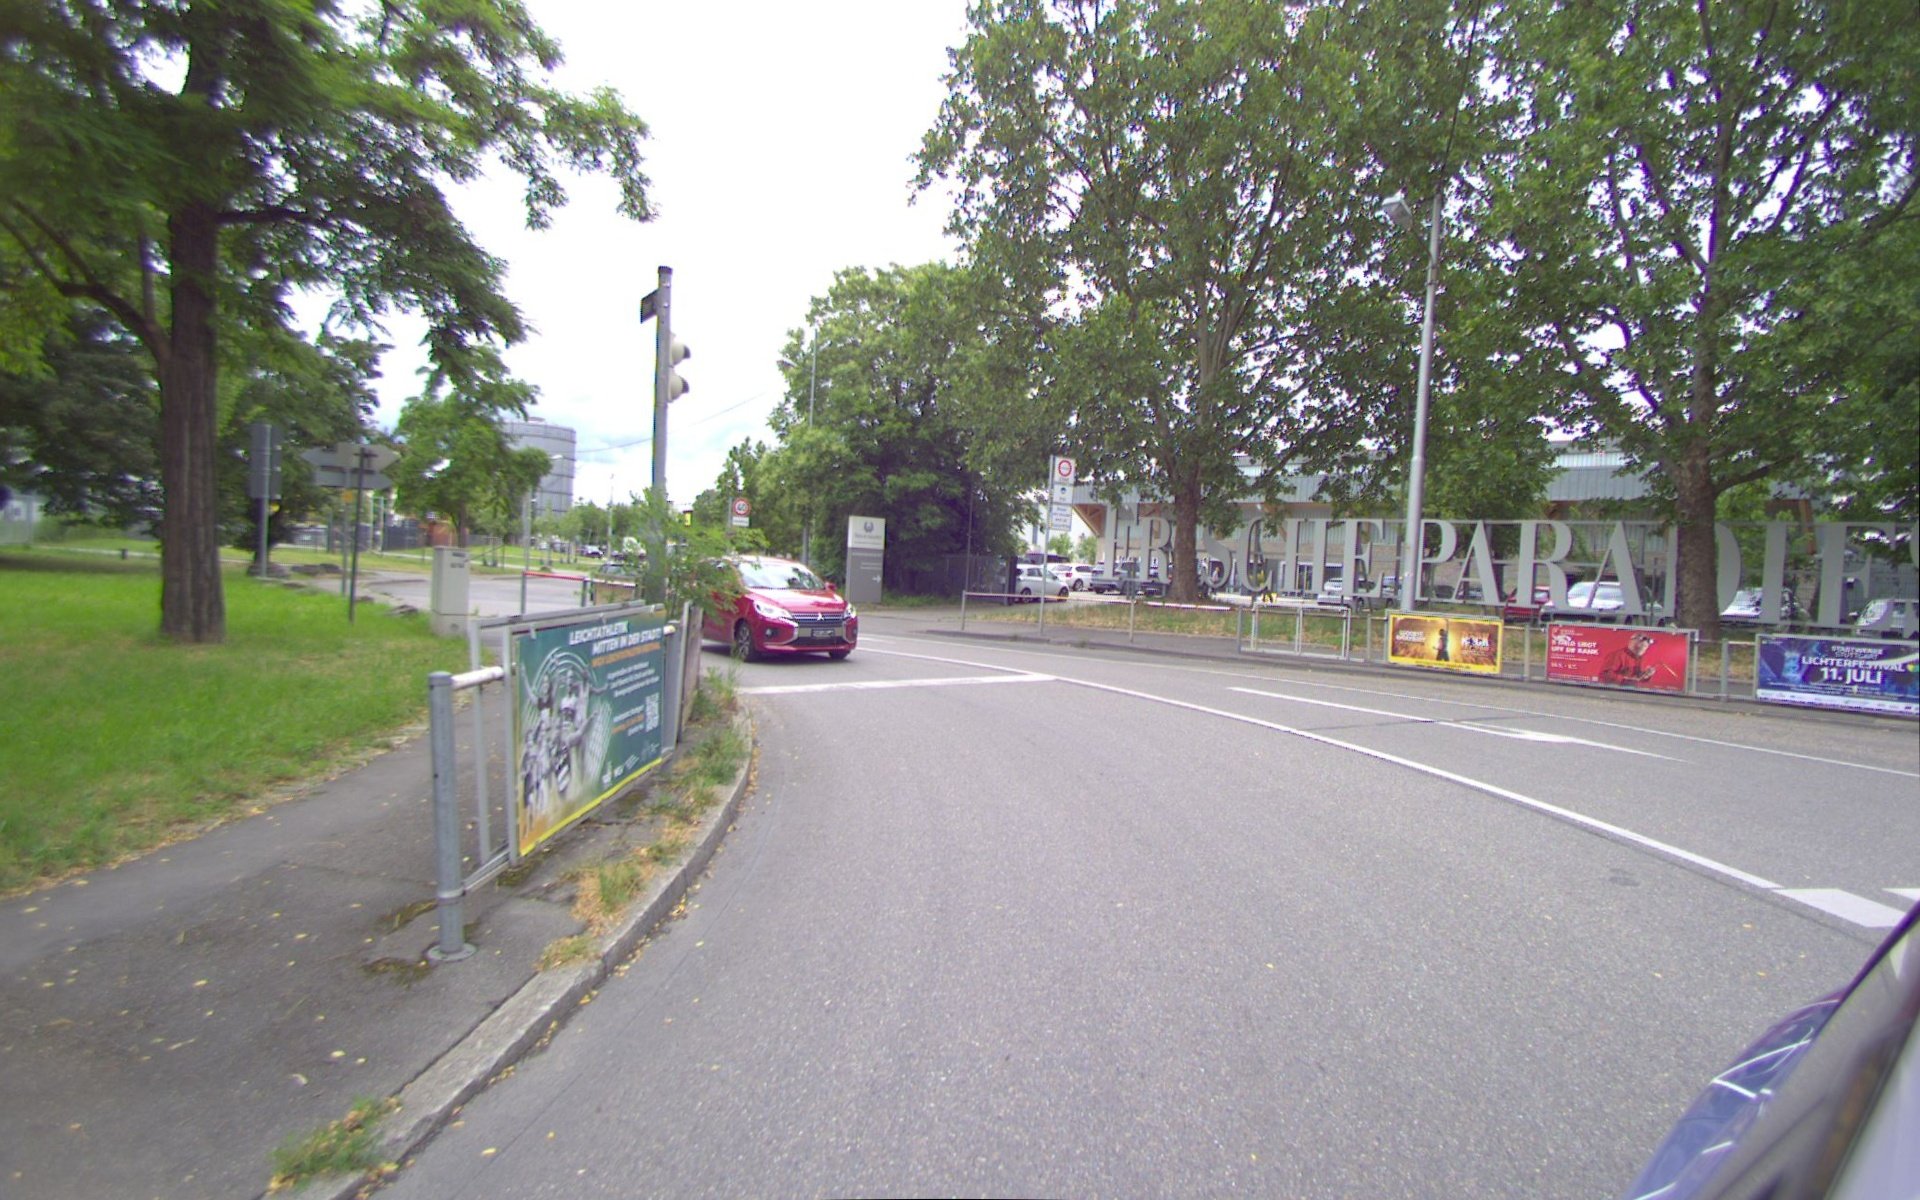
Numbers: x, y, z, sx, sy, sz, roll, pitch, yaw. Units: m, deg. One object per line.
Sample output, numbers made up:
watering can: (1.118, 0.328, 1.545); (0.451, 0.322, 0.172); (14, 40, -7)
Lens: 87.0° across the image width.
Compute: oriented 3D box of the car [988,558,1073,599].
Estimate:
car: (3.014, -0.884, 42.695); (1.477, 1.523, 3.670); (5, 2, 44)

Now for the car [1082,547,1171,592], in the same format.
car: (8.556, -1.521, 51.822); (4.560, 2.038, 1.997); (2, 2, -42)

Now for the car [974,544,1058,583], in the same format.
car: (3.366, -2.154, 60.376); (5.014, 2.023, 1.997); (2, 2, -42)

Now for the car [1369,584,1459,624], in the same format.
car: (20.622, 0.189, 45.937); (4.560, 1.580, 1.997); (2, 2, -42)

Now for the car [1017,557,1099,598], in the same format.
car: (5.565, -1.250, 57.293); (4.560, 2.038, 1.997); (2, 2, -42)

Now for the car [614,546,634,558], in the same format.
car: (-48.276, -6.841, 145.303); (2.006, 1.555, 3.949); (2, 2, -29)

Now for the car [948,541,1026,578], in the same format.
car: (1.723, -2.495, 63.299); (4.740, 2.038, 1.997); (2, 2, -42)

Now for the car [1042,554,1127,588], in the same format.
car: (6.763, -1.533, 54.674); (4.560, 1.577, 1.997); (2, 2, -42)

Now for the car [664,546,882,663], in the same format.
car: (-2.922, -0.017, 15.204); (1.701, 1.483, 3.835); (0, 3, -36)

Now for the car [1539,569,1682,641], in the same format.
car: (17.009, 0.159, 26.390); (4.445, 1.633, 1.882); (3, 1, -41)

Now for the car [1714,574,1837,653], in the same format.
car: (19.104, 0.337, 23.639); (4.244, 1.633, 1.589); (2, 2, -43)

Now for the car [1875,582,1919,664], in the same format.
car: (20.895, 0.545, 21.622); (3.932, 1.633, 1.589); (2, 2, -43)

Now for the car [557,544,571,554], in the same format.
car: (-75.019, -9.649, 191.576); (2.005, 1.555, 3.950); (4, 1, -26)

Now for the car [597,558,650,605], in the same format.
car: (-13.384, -0.734, 40.346); (1.811, 1.656, 4.195); (4, 0, -18)

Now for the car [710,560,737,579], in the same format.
car: (-19.244, -2.460, 82.370); (1.682, 1.424, 3.376); (3, 1, -6)

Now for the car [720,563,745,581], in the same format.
car: (-19.775, -2.413, 88.084); (1.682, 1.424, 3.376); (3, 1, -6)

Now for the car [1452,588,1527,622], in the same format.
car: (28.076, 0.291, 53.565); (4.560, 1.580, 1.997); (2, 2, -42)

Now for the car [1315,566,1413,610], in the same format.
car: (17.073, -0.488, 42.687); (4.560, 1.580, 1.997); (2, 2, -42)

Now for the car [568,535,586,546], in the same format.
car: (-59.110, -9.118, 156.116); (2.006, 1.555, 3.949); (2, 2, -29)

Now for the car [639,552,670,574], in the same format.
car: (-23.456, -2.865, 77.749); (2.005, 1.554, 3.952); (0, 3, -13)

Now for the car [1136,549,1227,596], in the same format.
car: (10.883, -1.349, 49.508); (4.560, 2.038, 1.997); (2, 2, -42)
